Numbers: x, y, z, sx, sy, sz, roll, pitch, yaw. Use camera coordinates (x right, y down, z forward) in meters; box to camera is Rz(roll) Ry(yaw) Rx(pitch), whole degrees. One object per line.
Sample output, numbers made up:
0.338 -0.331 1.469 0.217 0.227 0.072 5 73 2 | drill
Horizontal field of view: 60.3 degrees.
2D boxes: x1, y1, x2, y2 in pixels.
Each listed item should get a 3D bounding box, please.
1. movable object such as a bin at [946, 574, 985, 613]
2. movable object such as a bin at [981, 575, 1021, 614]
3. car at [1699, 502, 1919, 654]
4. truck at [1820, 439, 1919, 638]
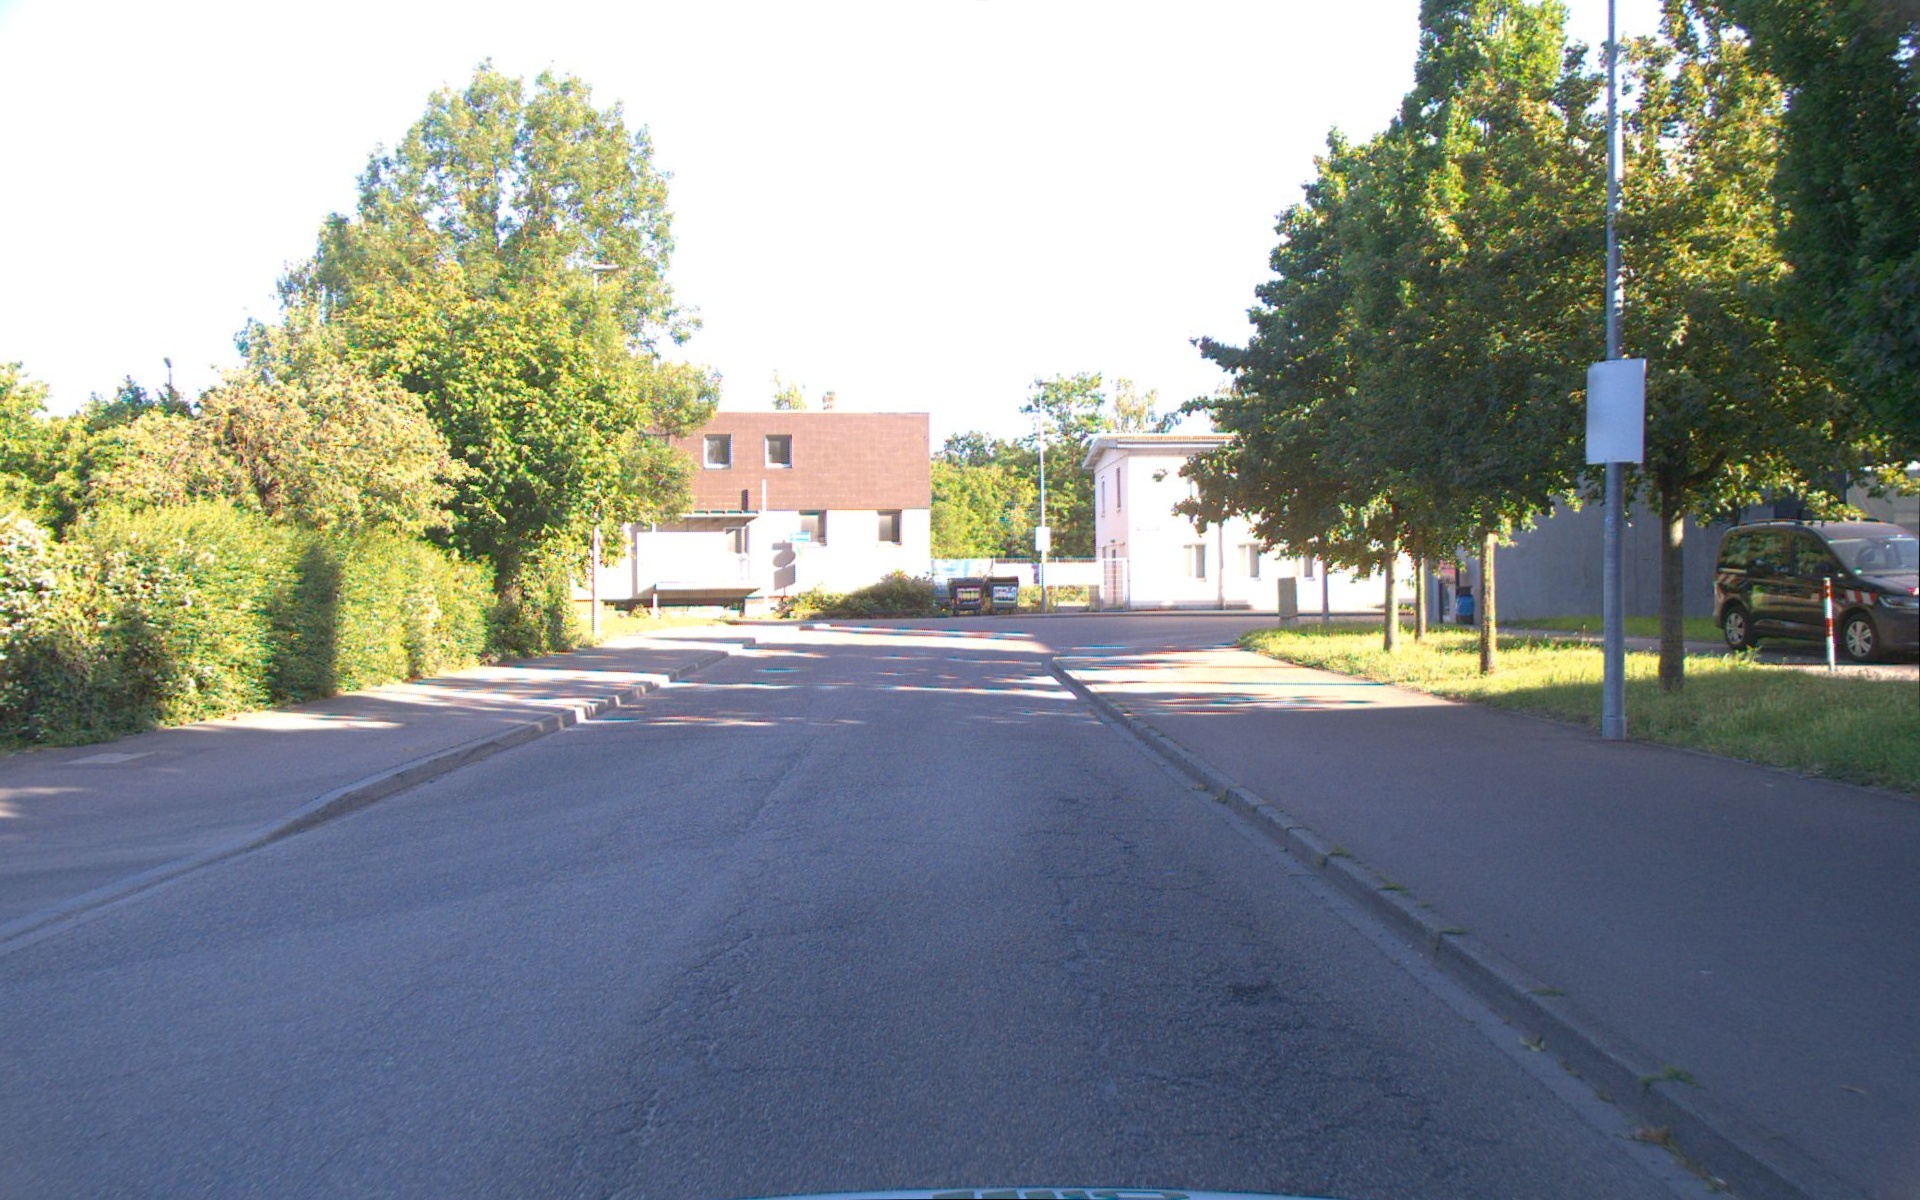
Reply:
0.197 -0.238 62.698 1.339 1.443 1.064 1 0 -8 | movable object such as a bin
1.554 -0.220 63.066 1.339 1.443 1.064 1 0 -8 | movable object such as a bin
12.193 -0.263 22.561 1.799 1.846 4.661 1 0 -6 | car
15.157 -0.863 23.056 2.313 2.887 6.743 1 1 -5 | truck
